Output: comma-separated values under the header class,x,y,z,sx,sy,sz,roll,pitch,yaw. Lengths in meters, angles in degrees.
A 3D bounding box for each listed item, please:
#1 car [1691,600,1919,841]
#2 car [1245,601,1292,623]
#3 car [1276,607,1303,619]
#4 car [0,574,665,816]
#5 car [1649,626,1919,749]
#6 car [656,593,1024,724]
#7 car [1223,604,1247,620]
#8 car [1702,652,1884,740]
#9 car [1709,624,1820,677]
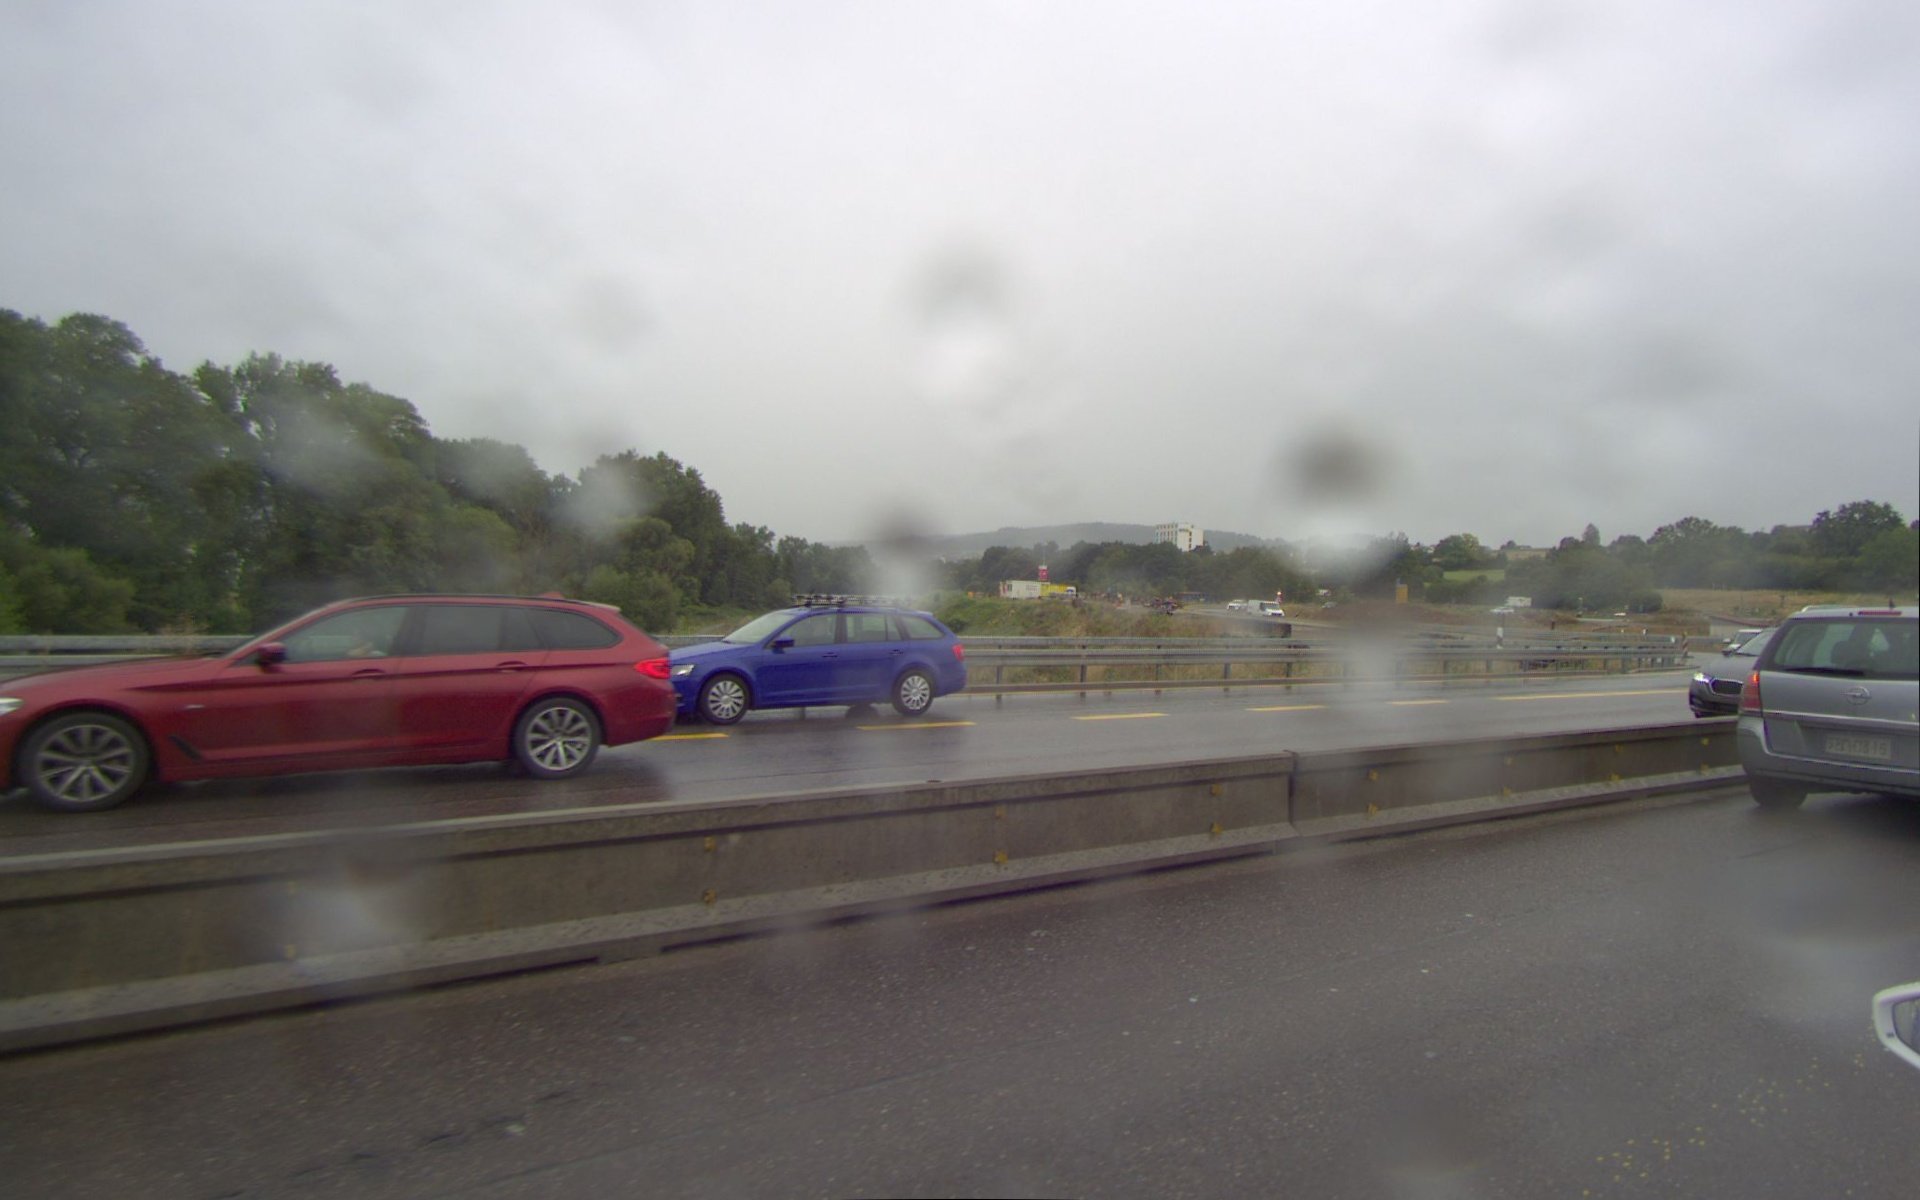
class,x,y,z,sx,sy,sz,roll,pitch,yaw
car,8.094,0.876,8.183,4.092,1.622,1.984,2,0,-30
car,30.975,1.200,101.020,2.233,2.040,5.032,2,0,-13
car,52.403,2.062,159.534,5.010,1.723,1.827,2,0,-43
car,-4.779,0.646,8.162,4.256,1.530,1.809,2,0,-30
car,11.927,1.129,14.209,4.358,1.468,1.899,0,-2,-30
car,-1.592,0.749,14.002,4.695,1.530,1.982,2,0,-33
car,39.260,1.712,143.333,2.035,2.090,4.832,2,0,31
car,17.681,1.957,21.288,3.955,1.517,1.810,0,0,-32
car,26.413,1.610,32.952,4.230,1.597,1.833,1,-2,-37
